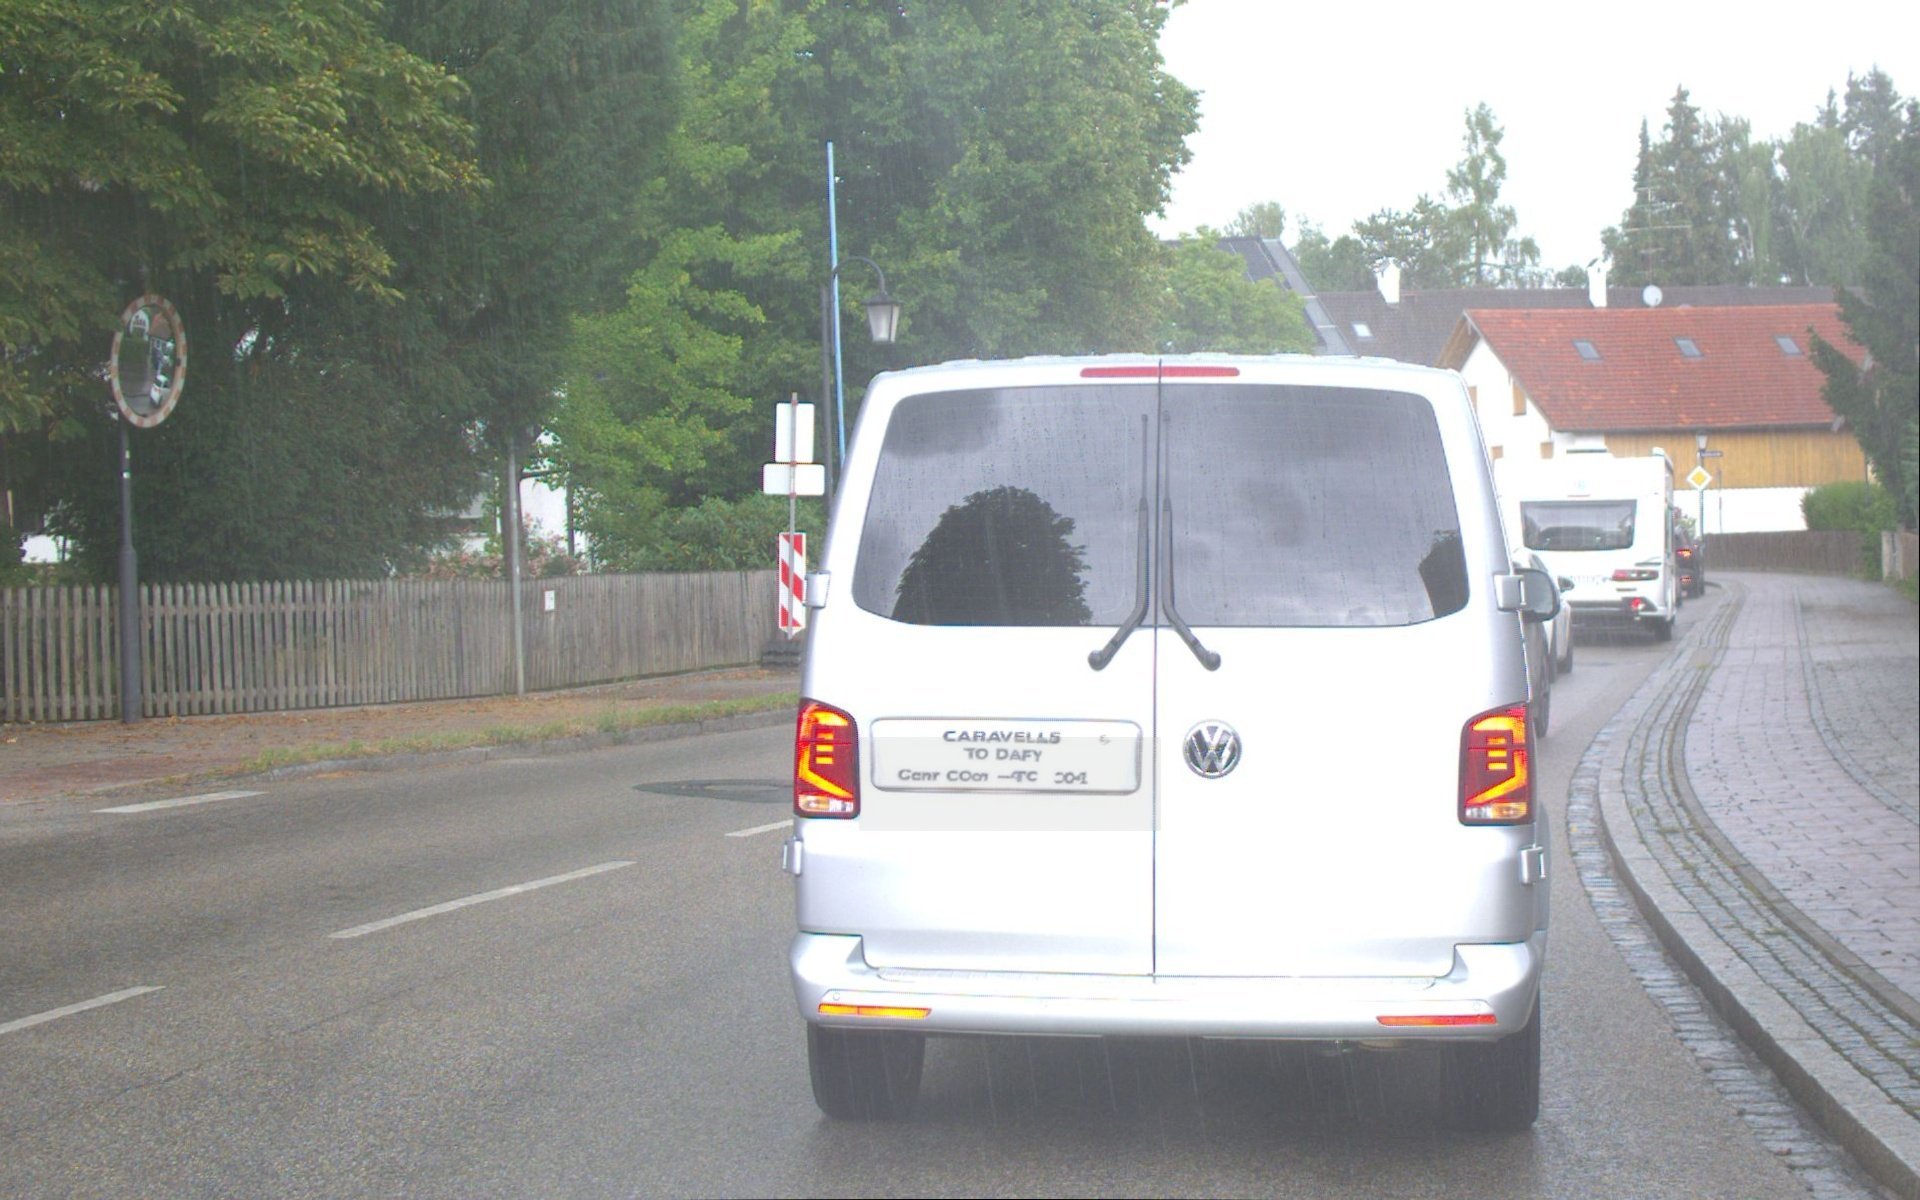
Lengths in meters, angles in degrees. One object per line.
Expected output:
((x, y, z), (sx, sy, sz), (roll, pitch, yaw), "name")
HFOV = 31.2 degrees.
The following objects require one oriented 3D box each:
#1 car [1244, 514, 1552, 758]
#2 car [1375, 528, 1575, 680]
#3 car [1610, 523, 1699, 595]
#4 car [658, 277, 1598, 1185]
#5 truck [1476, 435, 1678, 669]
((3.231, 0.218, 24.746), (1.802, 1.583, 3.998), (1, 1, 13), "car")
((5.541, 0.021, 36.636), (1.802, 1.503, 3.998), (1, 1, 13), "car")
((15.252, -0.888, 75.366), (1.802, 1.503, 3.998), (1, 1, 13), "car")
((0.705, 0.265, 9.763), (1.802, 2.007, 3.997), (1, 1, 16), "car")
((8.765, -0.663, 48.398), (2.477, 3.063, 6.292), (1, 1, 13), "truck")
